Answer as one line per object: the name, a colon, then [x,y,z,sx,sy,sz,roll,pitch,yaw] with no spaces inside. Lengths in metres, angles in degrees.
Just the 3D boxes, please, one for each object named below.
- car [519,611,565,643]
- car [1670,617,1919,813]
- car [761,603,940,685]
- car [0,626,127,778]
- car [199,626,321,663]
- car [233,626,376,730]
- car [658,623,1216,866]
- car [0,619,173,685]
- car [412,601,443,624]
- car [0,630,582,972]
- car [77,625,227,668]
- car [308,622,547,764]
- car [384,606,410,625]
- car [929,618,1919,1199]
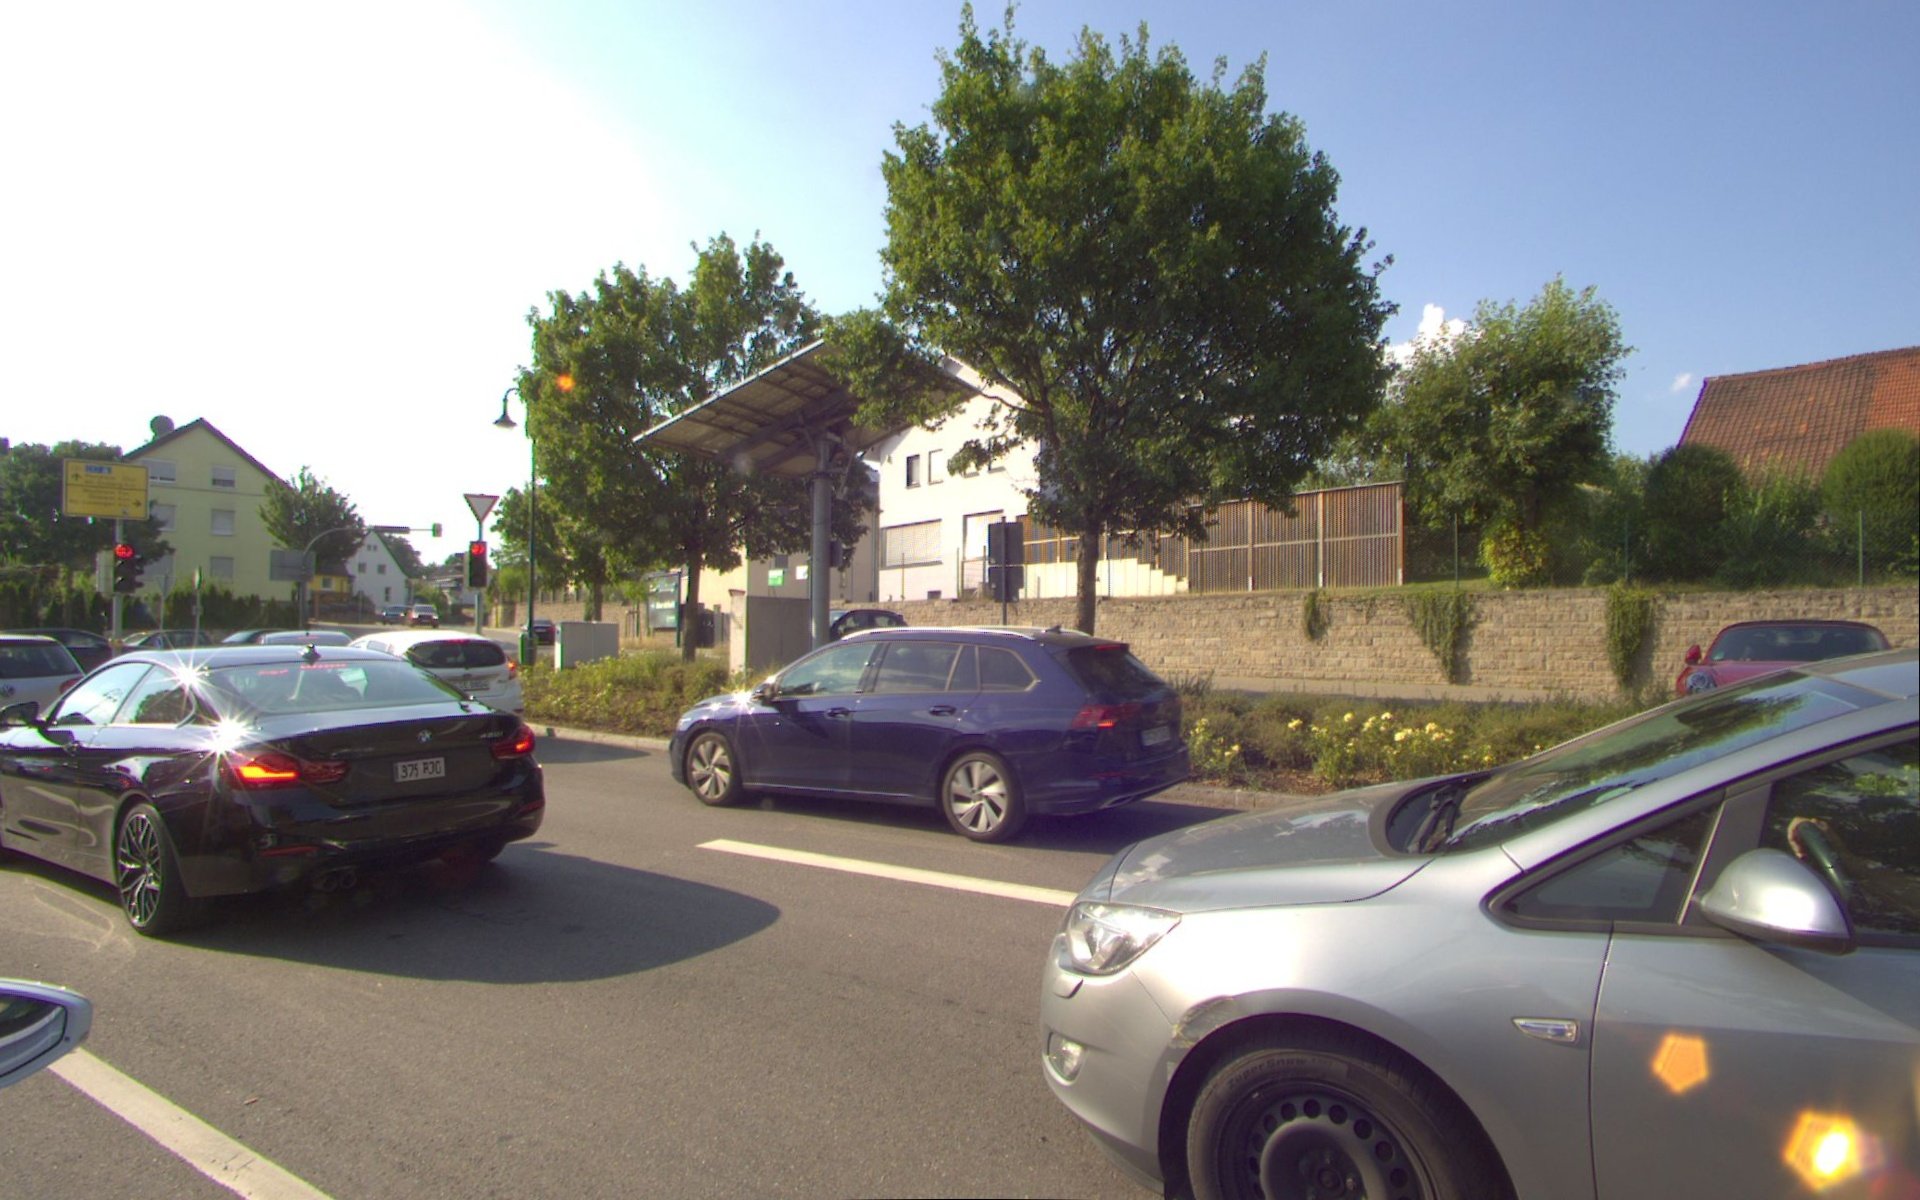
car: [-23.045,1.478,55.302,1.936,1.701,4.207,0,-1,-17]
car: [8.240,0.956,9.744,1.758,1.510,4.120,-1,-2,41]
car: [-2.363,0.966,22.296,1.758,1.653,3.800,-1,-2,40]
car: [-10.791,1.014,10.777,3.848,1.444,1.758,-1,0,33]
car: [-30.525,1.917,43.761,1.821,1.508,3.983,-1,-2,30]
car: [-11.739,1.275,17.812,1.643,1.562,4.362,0,0,-40]
car: [-0.294,0.938,8.070,4.257,1.472,1.758,-1,0,32]
car: [-24.619,1.397,27.834,4.173,1.701,1.952,0,-1,-44]
car: [-39.663,0.968,74.533,1.822,1.662,4.408,1,-2,-31]
car: [-4.420,0.917,6.185,4.220,1.416,1.758,-1,0,33]
car: [-30.059,1.722,37.361,1.821,1.508,3.983,-1,-2,30]
car: [-6.903,1.084,12.886,3.278,1.562,1.611,-1,0,40]
car: [-53.039,1.482,94.385,1.820,1.761,4.766,1,-2,-26]
car: [2.189,0.785,2.160,4.256,1.472,1.758,-1,0,31]
